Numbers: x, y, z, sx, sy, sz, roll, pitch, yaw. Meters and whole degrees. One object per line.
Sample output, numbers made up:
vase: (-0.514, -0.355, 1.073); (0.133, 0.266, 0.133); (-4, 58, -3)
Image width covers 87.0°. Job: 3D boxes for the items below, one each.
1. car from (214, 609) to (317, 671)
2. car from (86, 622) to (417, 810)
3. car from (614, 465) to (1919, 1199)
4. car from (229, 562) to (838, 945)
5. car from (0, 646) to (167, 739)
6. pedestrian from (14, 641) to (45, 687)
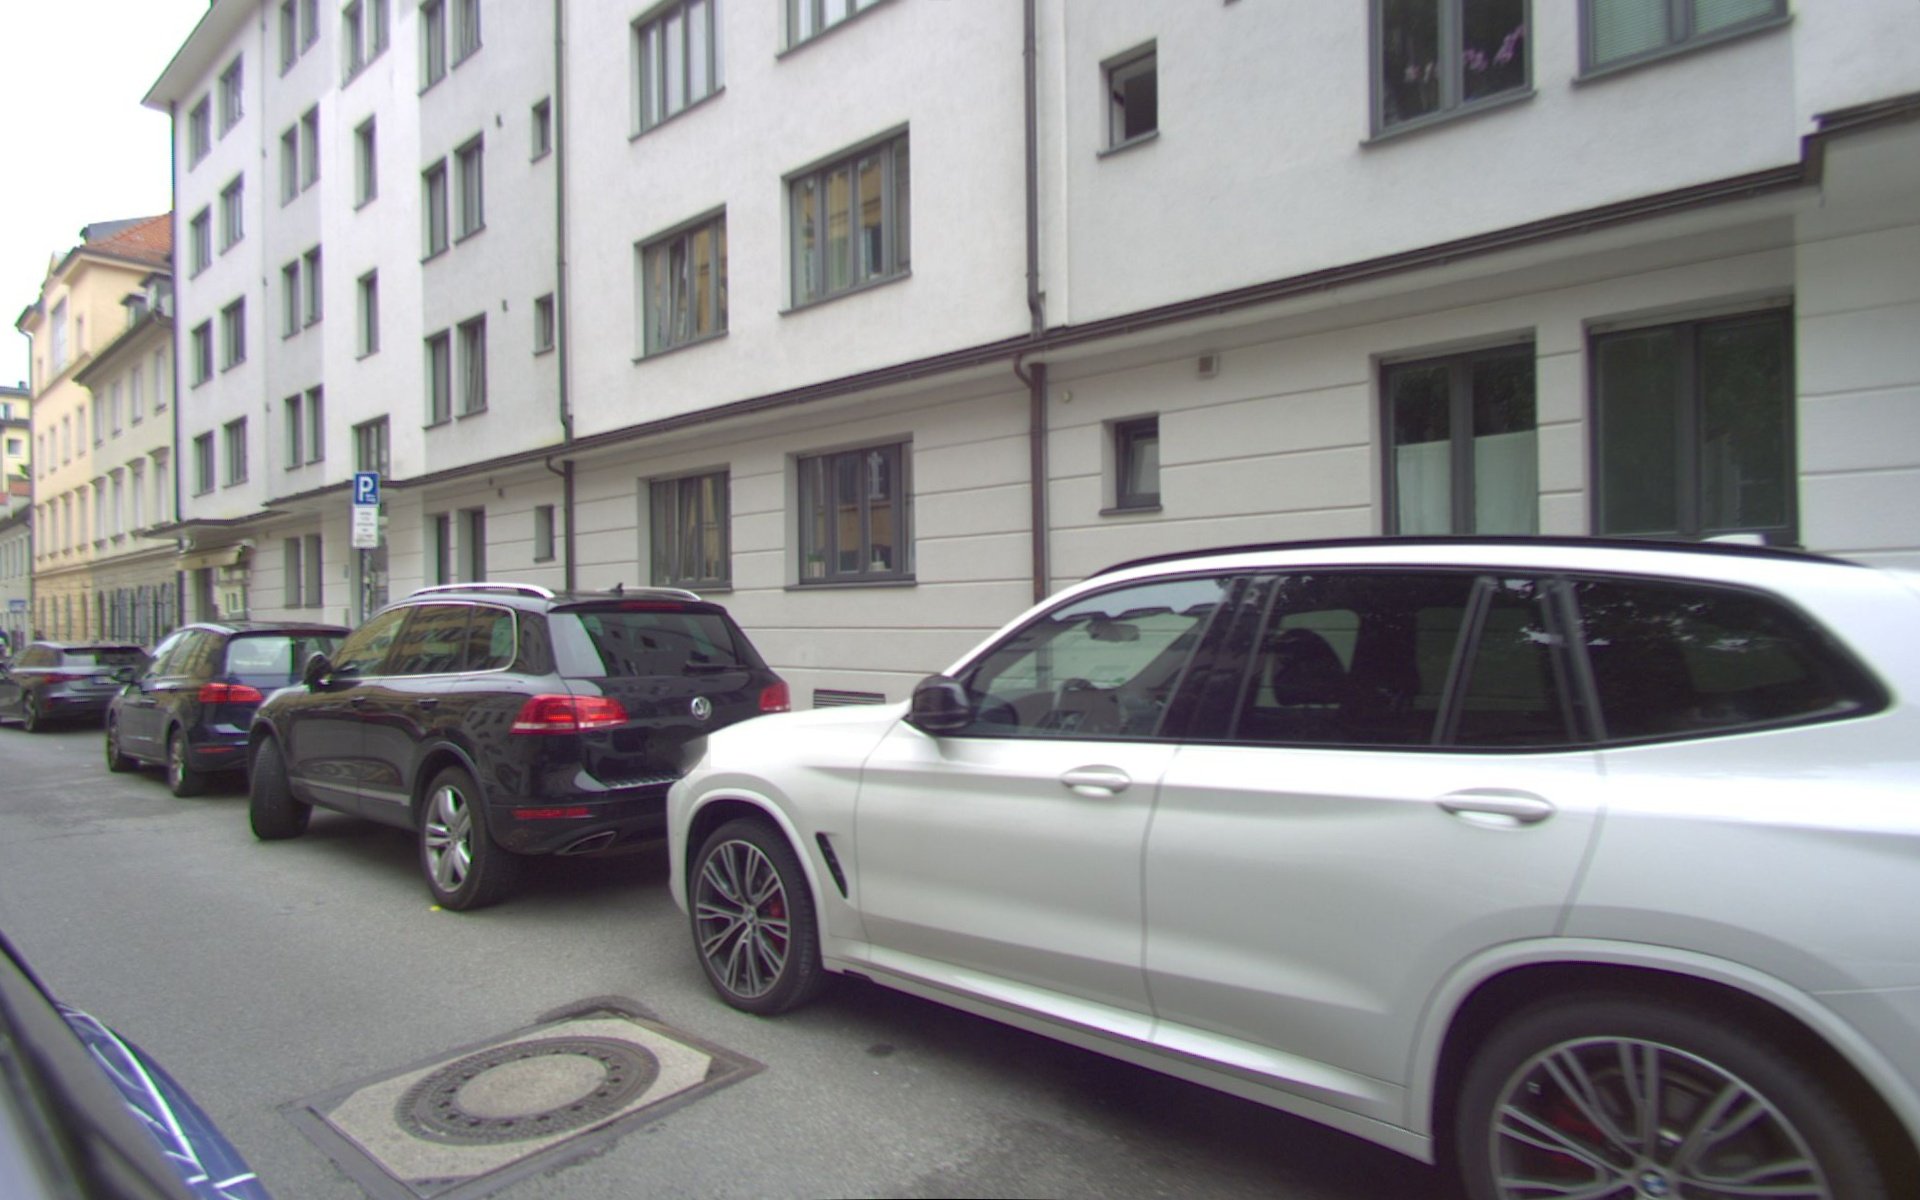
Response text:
car: (-24.682, 1.408, 35.910); (4.398, 2.029, 1.973); (-2, 0, 41)
car: (-7.371, 1.062, 10.386); (4.155, 1.551, 1.755); (-3, -3, 40)
car: (0.906, 0.700, 3.439); (4.586, 1.671, 1.853); (-3, -3, 40)
car: (-3.036, 0.792, 6.694); (4.516, 1.701, 1.853); (-3, -3, 40)
car: (-14.955, 1.471, 16.833); (4.048, 1.365, 1.625); (-3, -3, 34)
pedestrian: (-35.711, 2.455, 38.835); (1.021, 1.725, 0.797); (-3, -2, 42)
